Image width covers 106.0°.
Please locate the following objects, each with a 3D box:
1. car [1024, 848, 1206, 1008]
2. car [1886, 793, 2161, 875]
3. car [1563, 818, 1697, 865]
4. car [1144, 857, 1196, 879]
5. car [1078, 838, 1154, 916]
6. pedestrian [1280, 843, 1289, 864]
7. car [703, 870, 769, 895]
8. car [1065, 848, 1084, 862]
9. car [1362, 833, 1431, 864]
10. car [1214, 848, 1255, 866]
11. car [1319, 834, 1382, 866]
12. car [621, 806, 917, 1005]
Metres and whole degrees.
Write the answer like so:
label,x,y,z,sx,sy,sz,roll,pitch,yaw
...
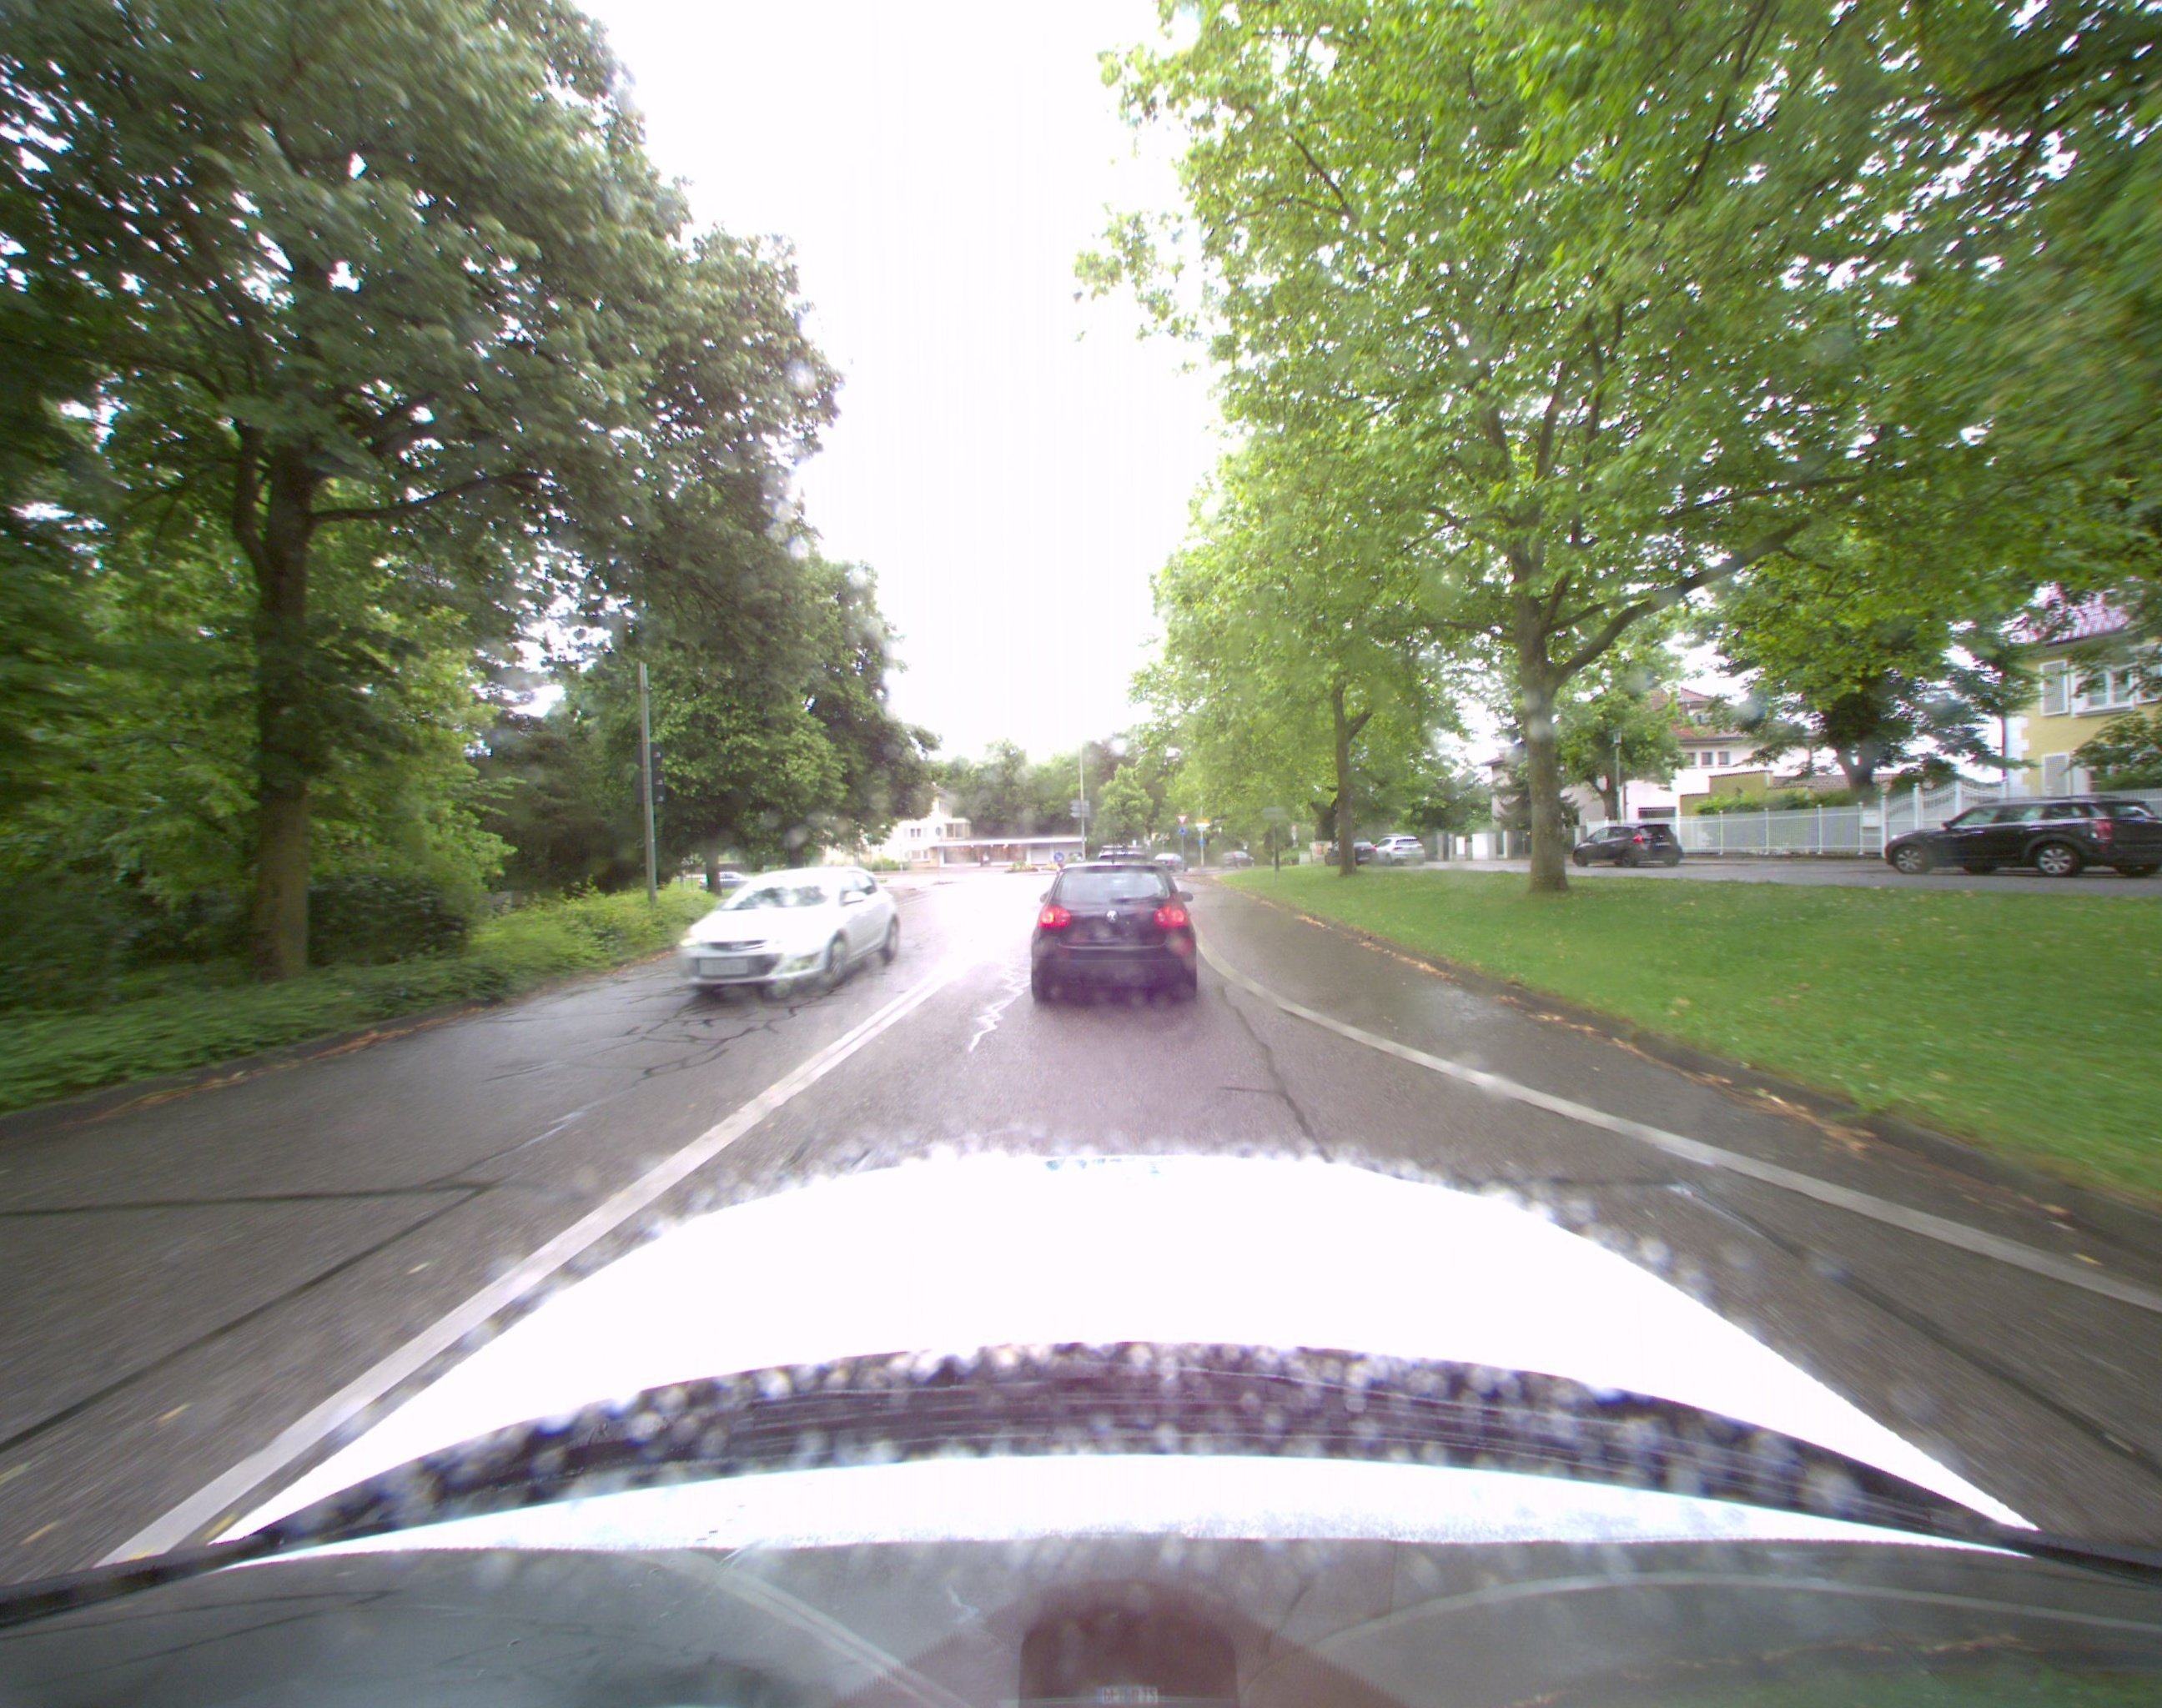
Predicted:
label,x,y,z,sx,sy,sz,roll,pitch,yaw
car,0.382,0.730,9.895,1.758,1.538,4.001,0,0,1
car,19.617,-0.349,16.763,1.988,1.471,4.122,0,0,-2
car,19.463,-0.397,29.130,1.755,1.471,4.354,-2,0,-2
car,6.490,0.968,59.161,1.974,1.530,4.025,-1,-1,37
car,0.913,0.577,21.910,1.758,1.801,4.247,-3,-1,1
pedestrian,17.133,-0.041,68.551,0.628,1.713,0.532,0,-1,19
car,-24.865,2.020,58.800,4.021,1.684,1.993,0,0,-11
car,-0.728,0.139,91.149,1.809,1.486,3.825,-3,0,-4
car,16.349,-0.260,42.402,1.839,1.471,4.426,-3,0,1
car,13.489,0.271,71.302,1.974,1.530,4.025,-1,-1,37
car,13.892,-0.173,42.209,1.758,1.471,4.599,-4,-1,1
car,-3.792,0.555,10.960,1.986,2.013,4.575,-3,0,2
